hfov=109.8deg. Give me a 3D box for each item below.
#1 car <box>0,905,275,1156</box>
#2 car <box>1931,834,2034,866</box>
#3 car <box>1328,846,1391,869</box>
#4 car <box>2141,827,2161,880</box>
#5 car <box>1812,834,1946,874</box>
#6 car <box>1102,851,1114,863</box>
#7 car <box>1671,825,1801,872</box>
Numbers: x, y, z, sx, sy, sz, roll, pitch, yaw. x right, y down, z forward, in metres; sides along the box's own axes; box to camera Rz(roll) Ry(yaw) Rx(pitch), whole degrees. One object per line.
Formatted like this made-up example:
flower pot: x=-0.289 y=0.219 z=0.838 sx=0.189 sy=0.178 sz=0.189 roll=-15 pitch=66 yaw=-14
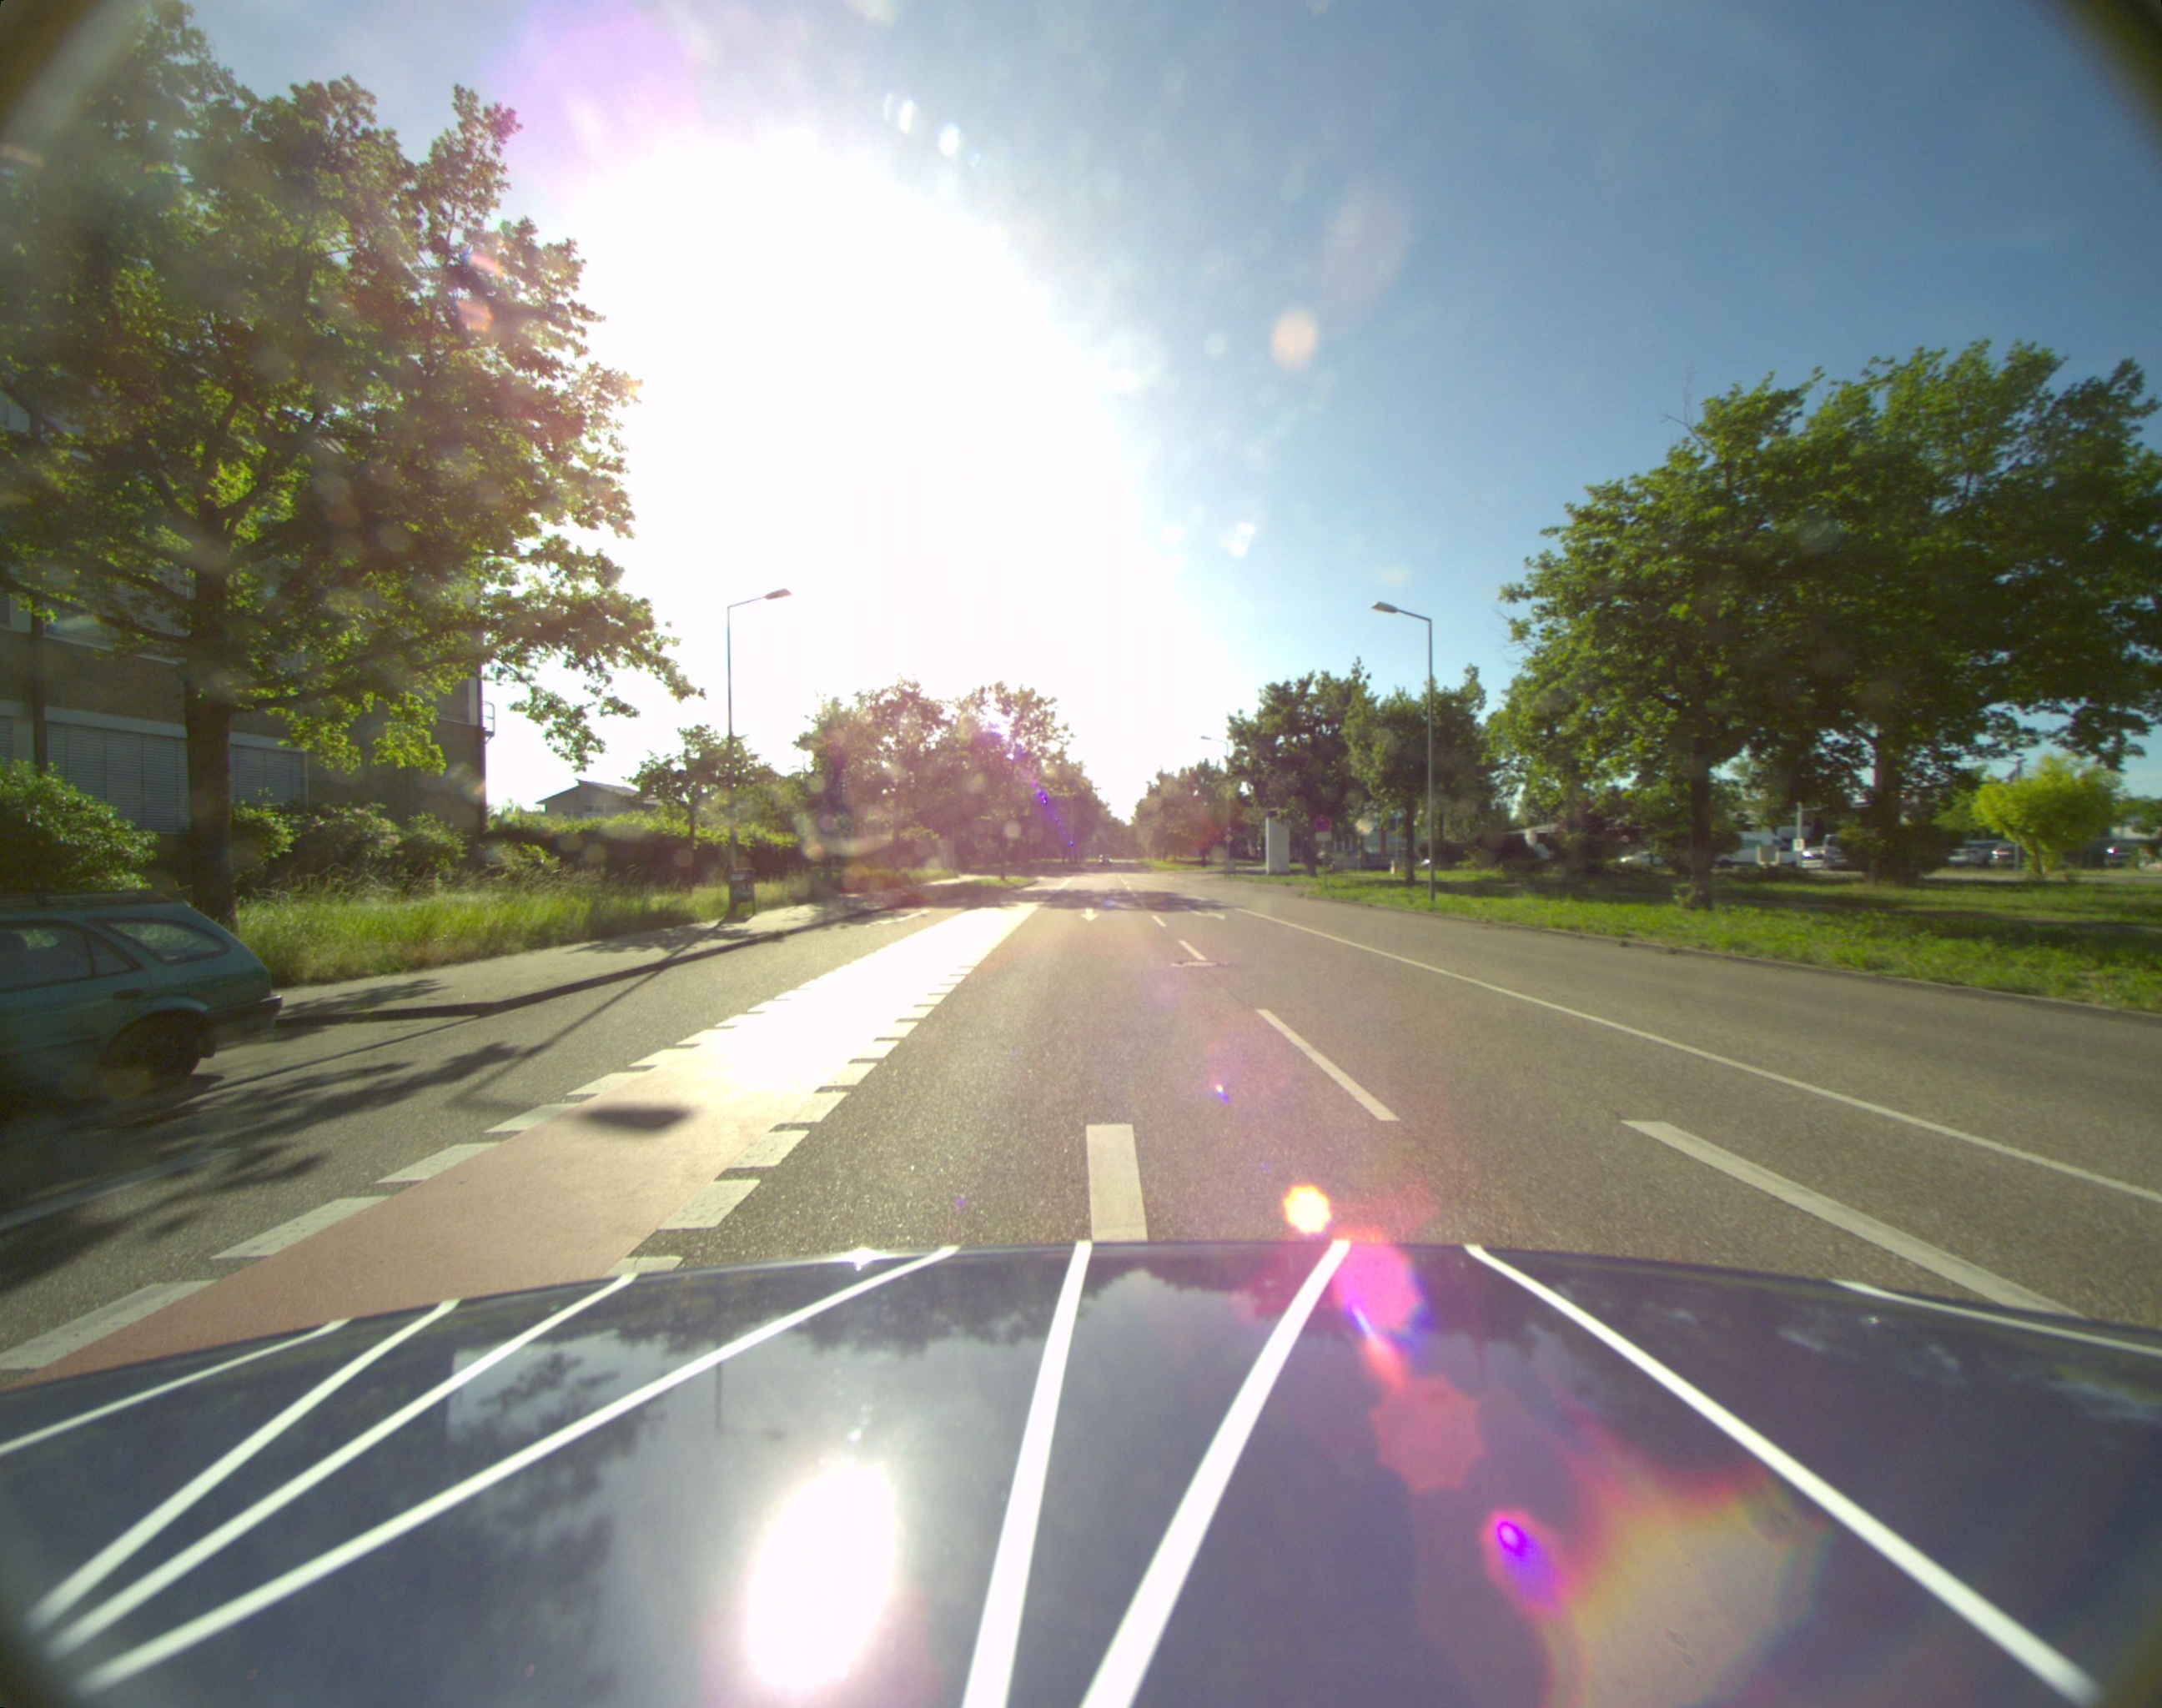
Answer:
car: x=-7.529 y=1.133 z=4.208 sx=1.706 sy=1.460 sz=4.141 roll=-1 pitch=-1 yaw=0
car: x=52.085 y=-0.216 z=43.946 sx=3.860 sy=1.661 sz=1.762 roll=-2 pitch=1 yaw=0
car: x=23.926 y=0.292 z=65.358 sx=4.637 sy=1.822 sz=2.000 roll=-2 pitch=1 yaw=0
car: x=33.884 y=-0.090 z=22.027 sx=3.817 sy=1.562 sz=1.736 roll=-2 pitch=-1 yaw=0
car: x=40.057 y=-0.012 z=38.208 sx=4.642 sy=1.771 sz=1.990 roll=-2 pitch=1 yaw=0
car: x=3.648 y=0.398 z=102.221 sx=1.653 sy=1.460 sz=3.941 roll=-1 pitch=0 yaw=2
car: x=39.896 y=-0.345 z=46.385 sx=6.023 sy=2.540 sz=2.409 roll=-2 pitch=1 yaw=-4
